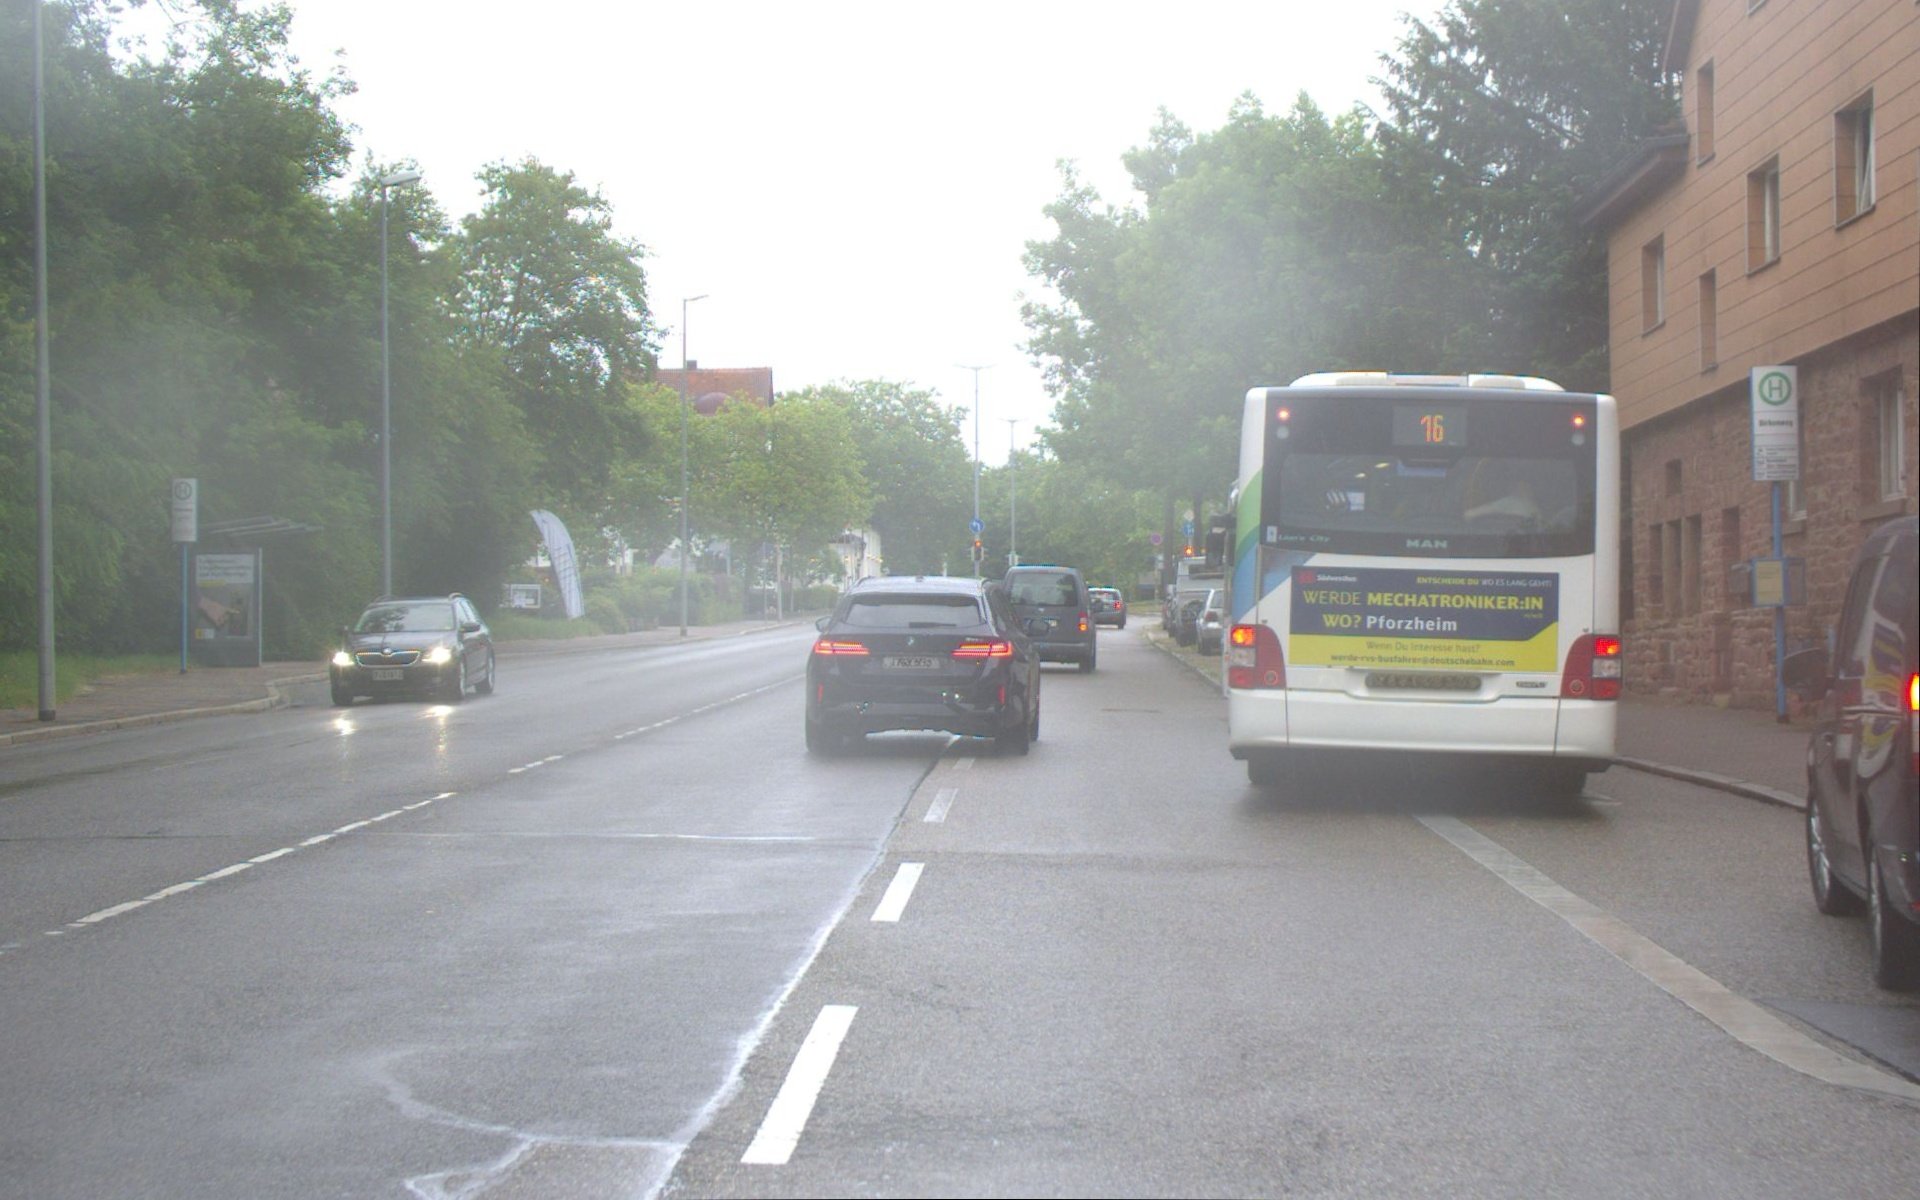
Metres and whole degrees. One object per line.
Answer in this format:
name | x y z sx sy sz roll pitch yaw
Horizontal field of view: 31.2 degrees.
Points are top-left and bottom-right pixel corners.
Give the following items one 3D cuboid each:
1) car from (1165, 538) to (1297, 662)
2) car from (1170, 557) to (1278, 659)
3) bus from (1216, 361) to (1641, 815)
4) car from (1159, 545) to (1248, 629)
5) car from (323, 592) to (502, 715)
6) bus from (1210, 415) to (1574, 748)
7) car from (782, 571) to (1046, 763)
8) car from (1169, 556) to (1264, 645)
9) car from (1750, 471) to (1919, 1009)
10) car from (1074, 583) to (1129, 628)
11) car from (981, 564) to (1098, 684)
car | 4.667 -0.035 59.731 1.993 2.006 4.000 0 2 0
car | 5.527 0.142 72.474 1.993 2.006 4.000 0 2 0
bus | 3.488 -0.159 25.961 2.624 2.838 8.286 -1 1 7
car | 6.143 -0.342 86.955 1.993 2.006 4.000 0 2 0
car | -7.528 0.705 47.581 1.770 1.528 4.000 -1 1 1
bus | 4.112 -0.261 34.800 2.623 2.838 9.794 -1 1 1
car | -0.331 0.531 30.266 1.994 1.448 4.000 3 1 3
car | 6.127 -0.013 82.471 1.993 2.006 4.000 0 2 0
car | 4.452 0.447 14.335 1.927 1.886 4.759 -3 0 10
car | 5.115 0.194 124.816 1.865 1.514 4.000 0 2 0
car | 1.426 0.390 60.909 1.993 2.007 4.000 1 1 2
